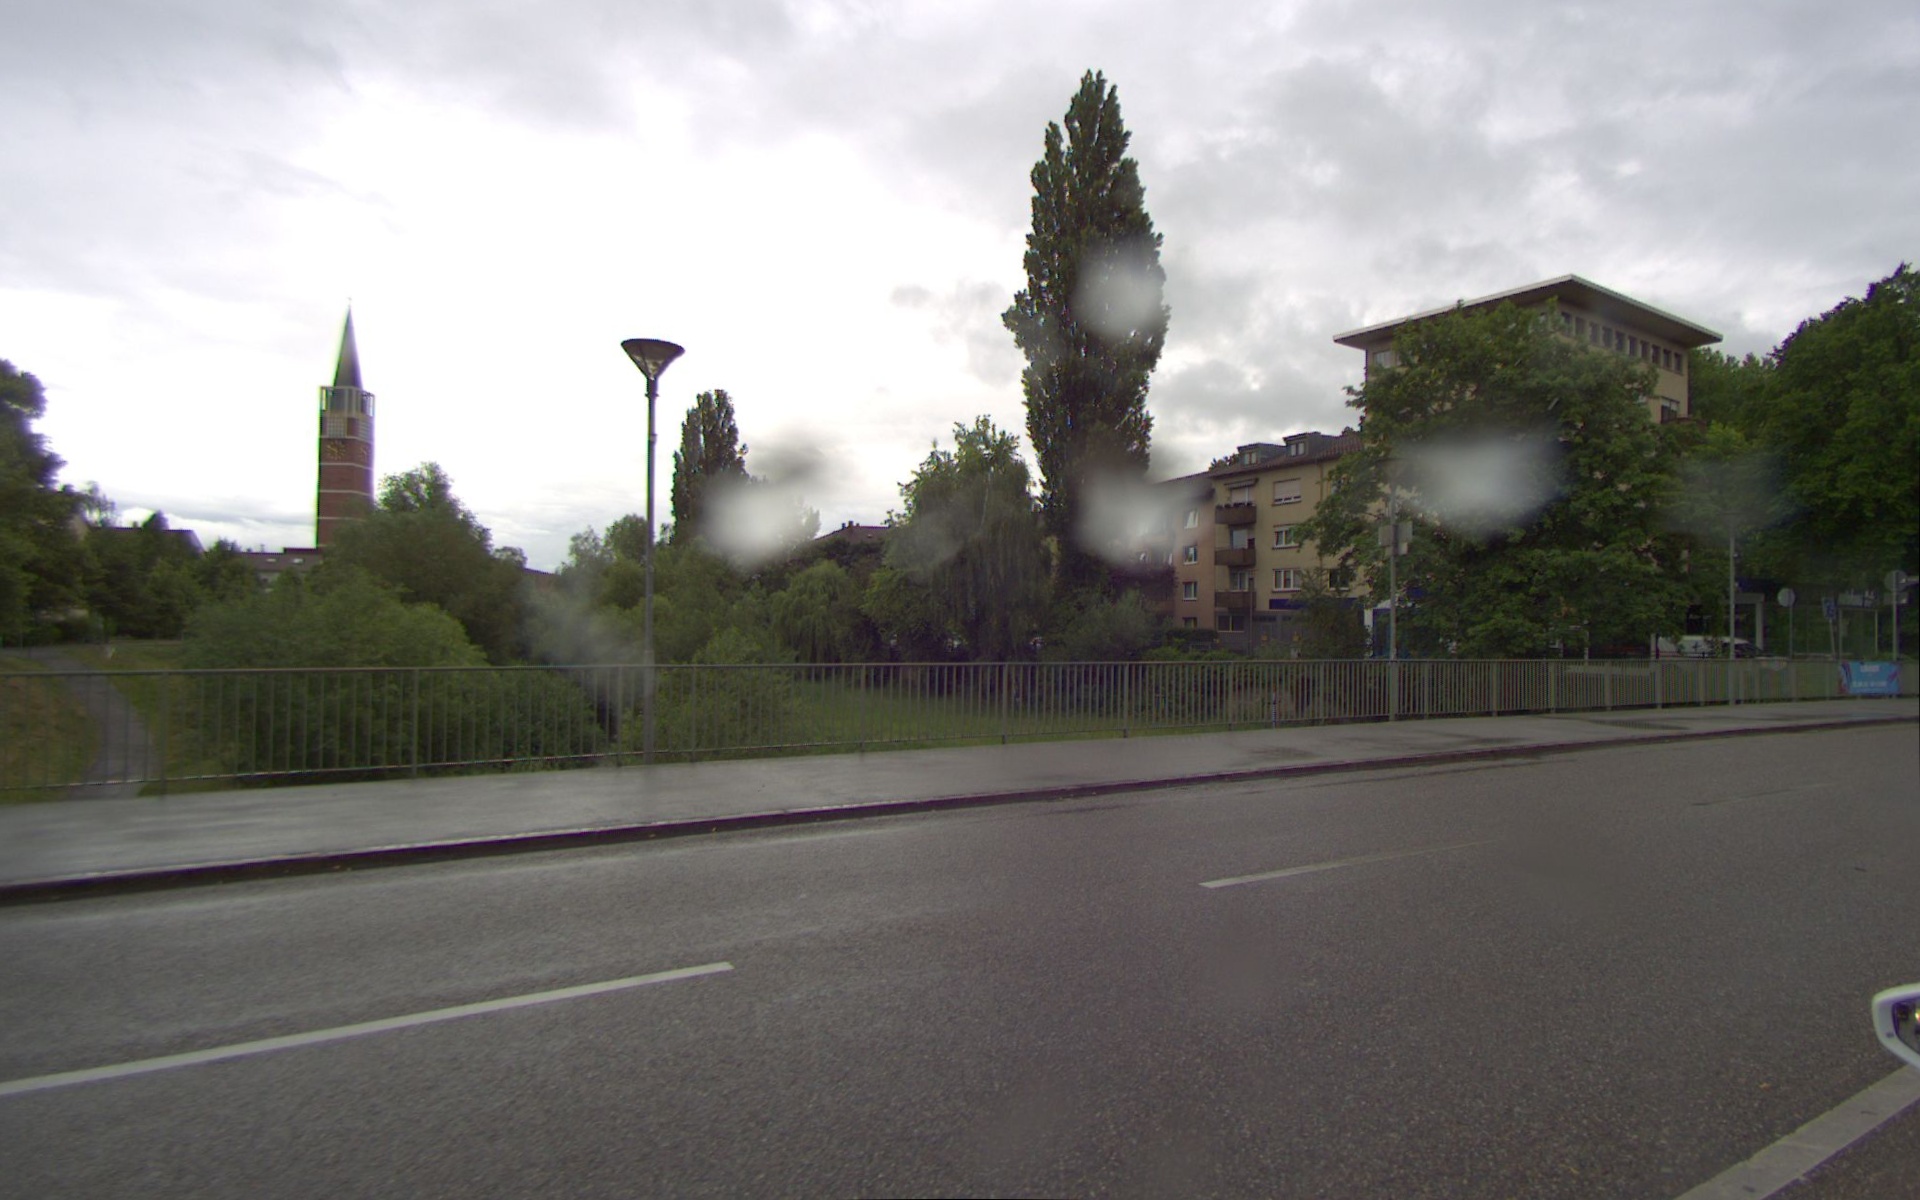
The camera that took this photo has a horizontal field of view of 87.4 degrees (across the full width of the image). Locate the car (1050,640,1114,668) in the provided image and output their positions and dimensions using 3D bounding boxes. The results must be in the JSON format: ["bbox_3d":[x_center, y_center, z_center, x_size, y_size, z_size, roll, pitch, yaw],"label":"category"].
[{"bbox_3d":[7.555,3.323,62.358,1.726,1.602,3.844,2,-2,-38],"label":"car"}]

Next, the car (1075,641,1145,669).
[{"bbox_3d":[10.268,3.767,68.992,1.982,1.676,4.705,0,0,-38],"label":"car"}]

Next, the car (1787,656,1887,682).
[{"bbox_3d":[50.553,3.963,57.972,1.698,1.434,4.054,2,-3,-36],"label":"car"}]

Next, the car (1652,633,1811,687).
[{"bbox_3d":[30.574,2.315,39.924,1.982,1.879,4.705,0,0,-38],"label":"car"}]
